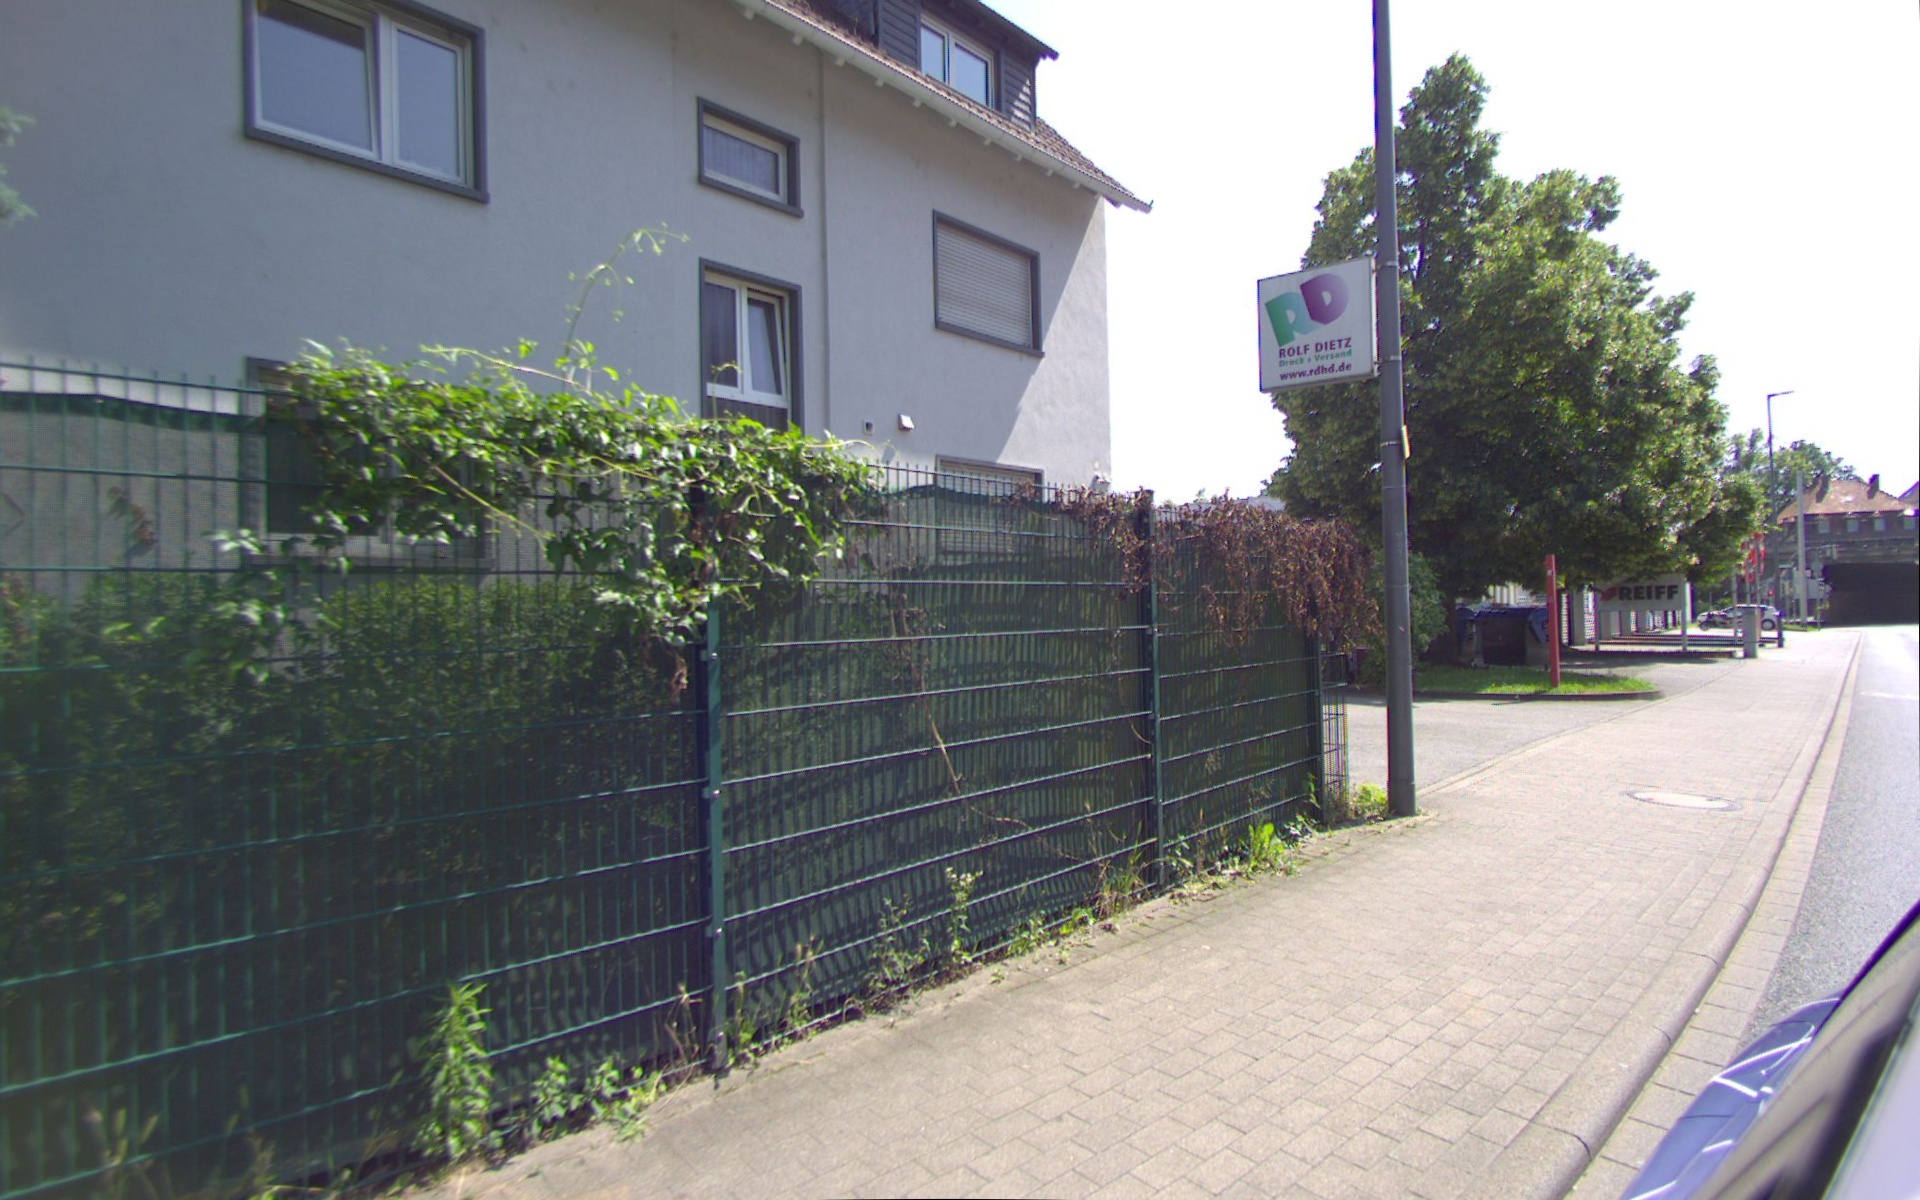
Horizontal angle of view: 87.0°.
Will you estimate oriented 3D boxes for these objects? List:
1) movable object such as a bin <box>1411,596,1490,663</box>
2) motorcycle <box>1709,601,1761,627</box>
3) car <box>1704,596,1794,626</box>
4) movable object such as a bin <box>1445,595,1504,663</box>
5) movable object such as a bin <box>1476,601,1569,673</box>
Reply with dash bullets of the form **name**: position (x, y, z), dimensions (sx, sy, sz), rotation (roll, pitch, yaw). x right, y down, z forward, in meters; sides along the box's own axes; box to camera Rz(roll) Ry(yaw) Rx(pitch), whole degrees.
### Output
- **movable object such as a bin**: position (11.194, 0.671, 23.142), dimensions (0.866, 1.448, 1.323), rotation (-2, 0, -22)
- **motorcycle**: position (41.981, 0.748, 54.847), dimensions (2.182, 1.325, 0.720), rotation (2, 2, 42)
- **car**: position (45.827, 0.611, 58.811), dimensions (3.985, 1.481, 1.861), rotation (3, 2, 42)
- **movable object such as a bin**: position (12.491, 0.696, 24.550), dimensions (0.976, 1.566, 1.302), rotation (-3, 0, 39)
- **movable object such as a bin**: position (12.001, 0.775, 21.626), dimensions (0.970, 1.448, 1.391), rotation (-2, 0, -22)
